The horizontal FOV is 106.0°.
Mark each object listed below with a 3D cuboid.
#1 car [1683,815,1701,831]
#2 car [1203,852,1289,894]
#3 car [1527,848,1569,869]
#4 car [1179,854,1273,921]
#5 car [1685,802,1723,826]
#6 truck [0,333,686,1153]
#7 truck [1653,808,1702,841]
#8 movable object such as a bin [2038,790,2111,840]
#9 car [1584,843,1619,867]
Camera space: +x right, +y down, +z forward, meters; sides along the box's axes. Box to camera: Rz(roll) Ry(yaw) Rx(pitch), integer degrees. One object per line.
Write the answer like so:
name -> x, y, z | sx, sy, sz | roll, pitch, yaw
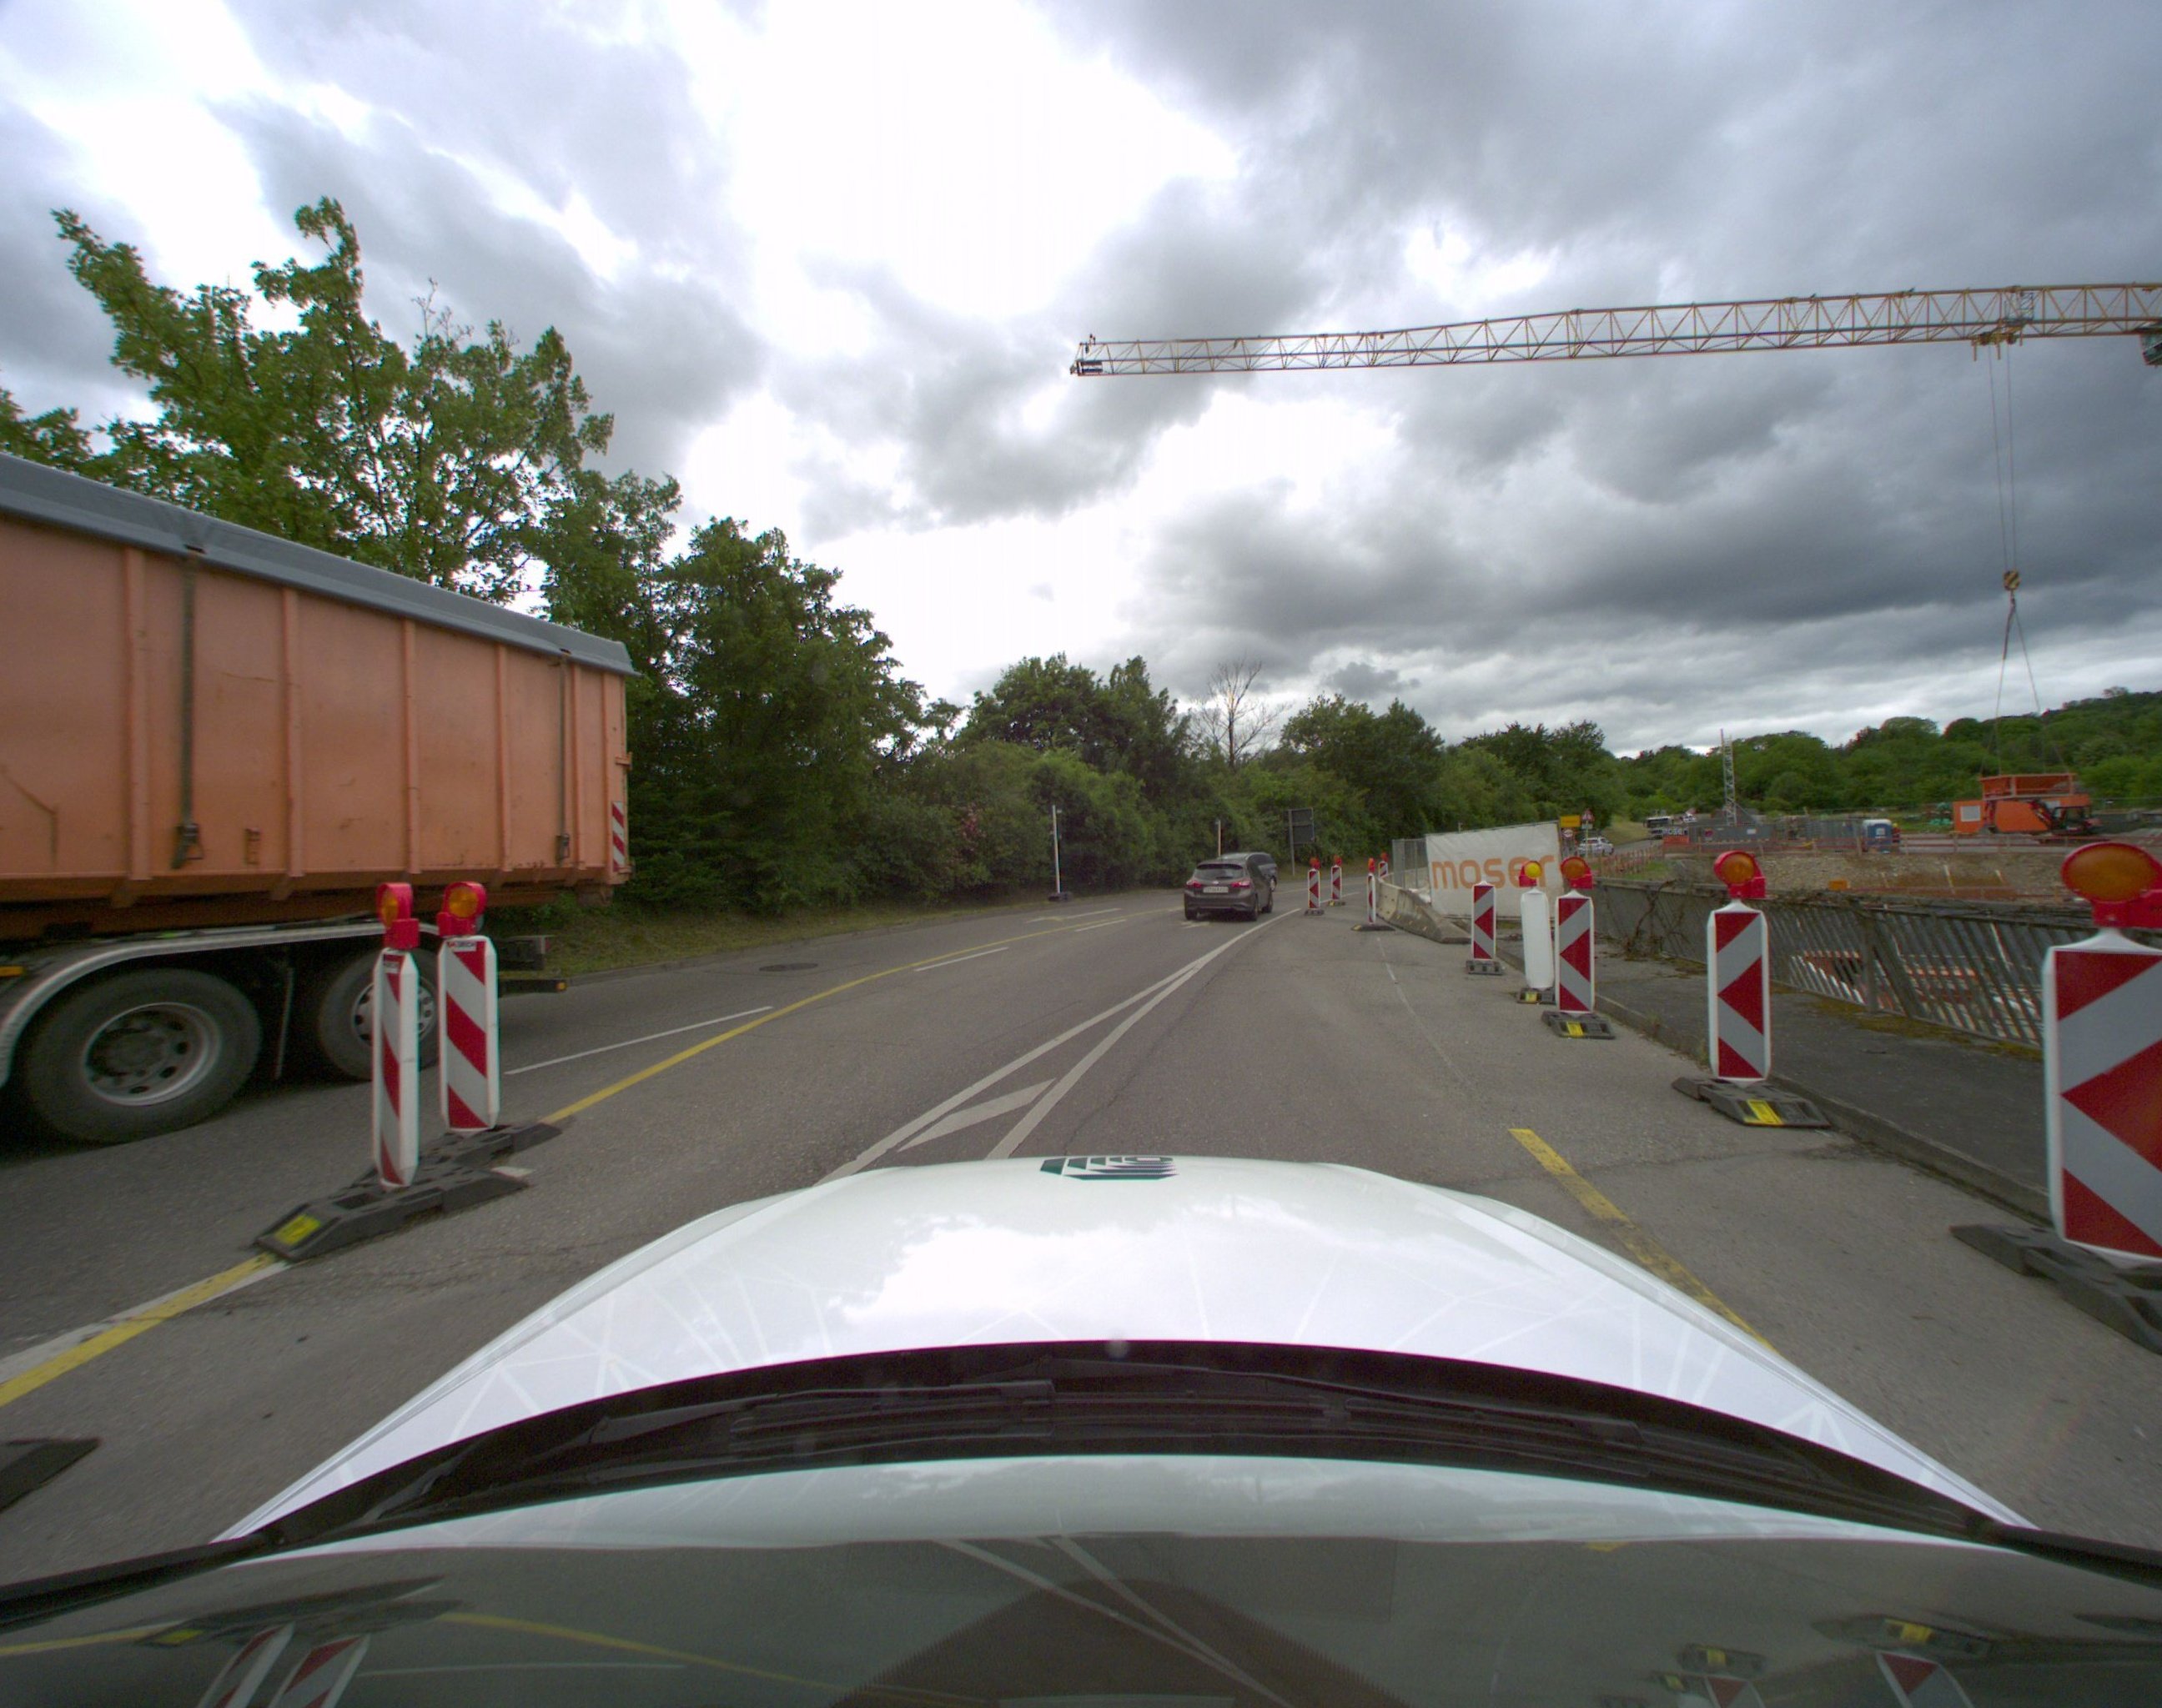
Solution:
car -> 93.461, -4.777, 124.534 | 1.975, 2.014, 4.024 | 4, -2, 39
car -> 6.583, 0.701, 32.142 | 1.616, 1.545, 4.378 | -2, -1, 36
car -> 36.948, 0.322, 64.380 | 4.210, 1.552, 1.642 | -1, 0, -42
car -> 3.905, 0.804, 21.445 | 1.783, 1.552, 4.019 | -1, 0, 19
car -> 57.701, -3.664, 75.420 | 4.021, 2.014, 1.976 | -1, -2, -41
truck -> -7.038, -0.539, 4.559 | 3.089, 4.221, 9.828 | -2, -1, 13
truck -> 68.448, -3.414, 93.368 | 8.428, 3.336, 2.794 | -3, -1, -43
movable object such as a bin -> 65.964, -2.551, 54.121 | 1.852, 3.077, 2.765 | -1, -3, -44
car -> 39.725, 0.088, 62.135 | 1.695, 1.675, 4.025 | -4, -2, 39
